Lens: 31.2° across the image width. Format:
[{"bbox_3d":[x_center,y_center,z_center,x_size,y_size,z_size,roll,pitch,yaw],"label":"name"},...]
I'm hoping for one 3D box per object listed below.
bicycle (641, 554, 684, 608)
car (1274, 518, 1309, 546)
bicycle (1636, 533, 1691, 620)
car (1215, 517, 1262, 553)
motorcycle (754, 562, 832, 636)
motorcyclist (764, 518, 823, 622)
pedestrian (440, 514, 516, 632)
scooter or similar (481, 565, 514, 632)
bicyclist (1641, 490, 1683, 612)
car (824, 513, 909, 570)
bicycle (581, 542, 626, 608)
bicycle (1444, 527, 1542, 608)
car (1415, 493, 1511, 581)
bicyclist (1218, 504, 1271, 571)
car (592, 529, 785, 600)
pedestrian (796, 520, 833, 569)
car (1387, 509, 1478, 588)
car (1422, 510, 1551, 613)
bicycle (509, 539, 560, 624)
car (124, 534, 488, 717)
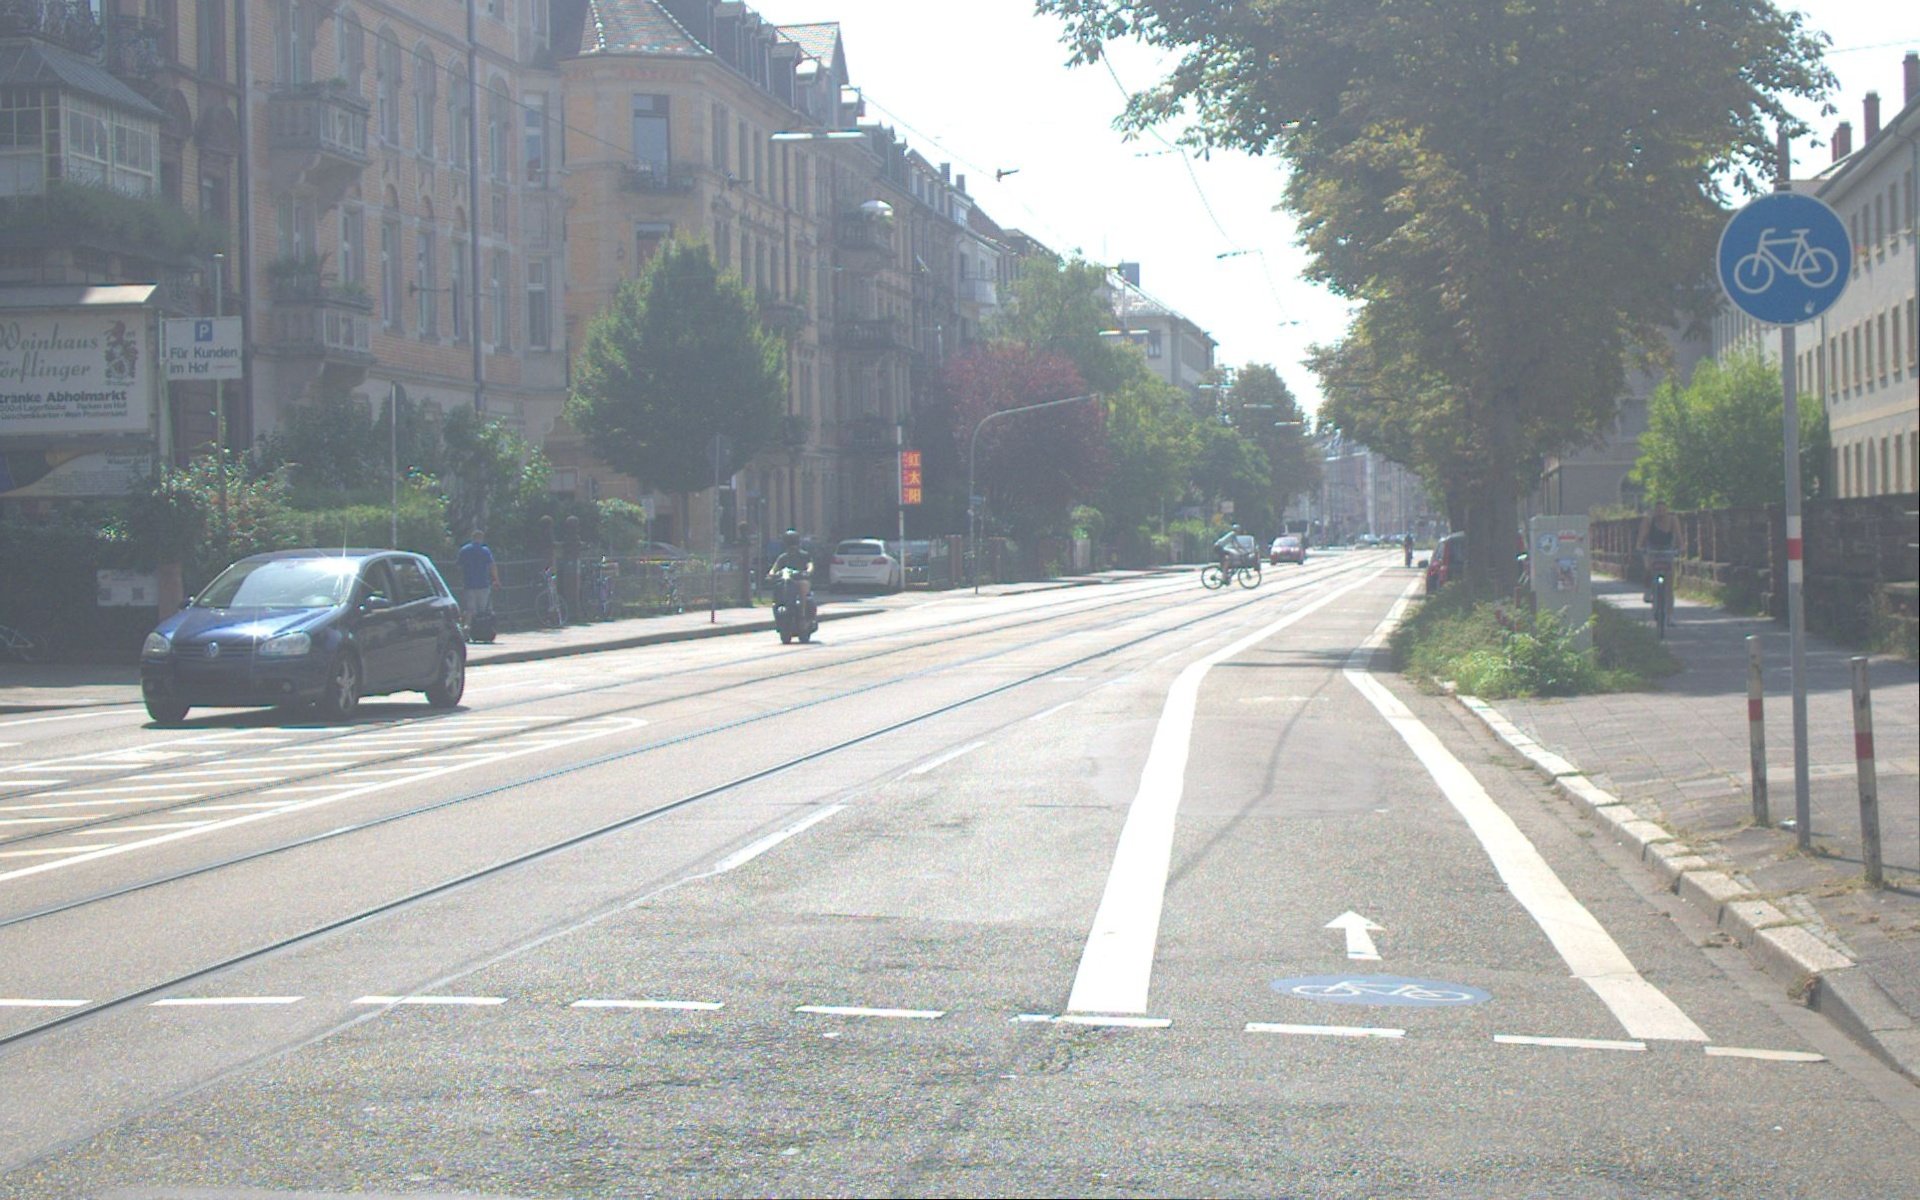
[{"bbox_3d":[-5.877,-0.382,68.006,0.390,1.035,1.832,-1,1,9],"label":"bicycle"},{"bbox_3d":[18.133,-3.730,188.010,1.732,1.485,3.999,-2,1,8],"label":"car"},{"bbox_3d":[8.750,-0.302,42.781,0.440,1.043,1.829,-1,1,5],"label":"bicycle"},{"bbox_3d":[12.503,-2.925,154.217,1.827,1.535,3.999,-2,1,8],"label":"car"},{"bbox_3d":[-2.452,-0.021,50.730,0.691,1.027,2.156,-1,1,9],"label":"motorcycle"},{"bbox_3d":[-2.451,-0.444,50.783,0.689,1.506,0.772,-1,1,9],"label":"motorcyclist"},{"bbox_3d":[-7.233,-0.411,51.619,0.883,1.750,0.870,-1,1,8],"label":"pedestrian"},{"bbox_3d":[-6.862,-0.028,51.042,0.400,0.979,0.584,0,1,0],"label":"scooter or similar"},{"bbox_3d":[8.750,-0.615,42.856,0.437,1.507,0.472,-1,1,5],"label":"bicyclist"},{"bbox_3d":[-2.719,-1.735,101.008,1.994,1.589,4.359,-1,1,5],"label":"car"},{"bbox_3d":[-6.464,-0.461,62.380,0.390,1.144,1.581,-1,1,9],"label":"bicycle"},{"bbox_3d":[7.567,-0.460,48.777,1.388,1.104,0.389,-2,1,-27],"label":"bicycle"},{"bbox_3d":[9.166,-1.160,62.656,1.617,1.472,4.038,-3,1,8],"label":"car"},{"bbox_3d":[8.003,-1.759,96.746,1.128,1.830,0.953,-1,1,40],"label":"bicyclist"},{"bbox_3d":[-6.285,-0.832,79.800,4.103,1.589,1.878,0,1,10],"label":"car"},{"bbox_3d":[-4.570,-1.731,107.958,0.883,1.506,0.870,-2,1,-23],"label":"pedestrian"},{"bbox_3d":[10.053,-1.097,72.991,1.756,1.472,4.456,-5,0,8],"label":"car"},{"bbox_3d":[8.414,-0.635,54.756,1.618,1.525,3.497,-2,1,15],"label":"car"},{"bbox_3d":[-7.143,-0.319,57.733,0.390,1.401,1.581,-1,1,9],"label":"bicycle"},{"bbox_3d":[-5.713,0.167,30.564,1.728,1.428,4.175,1,2,11],"label":"car"}]
